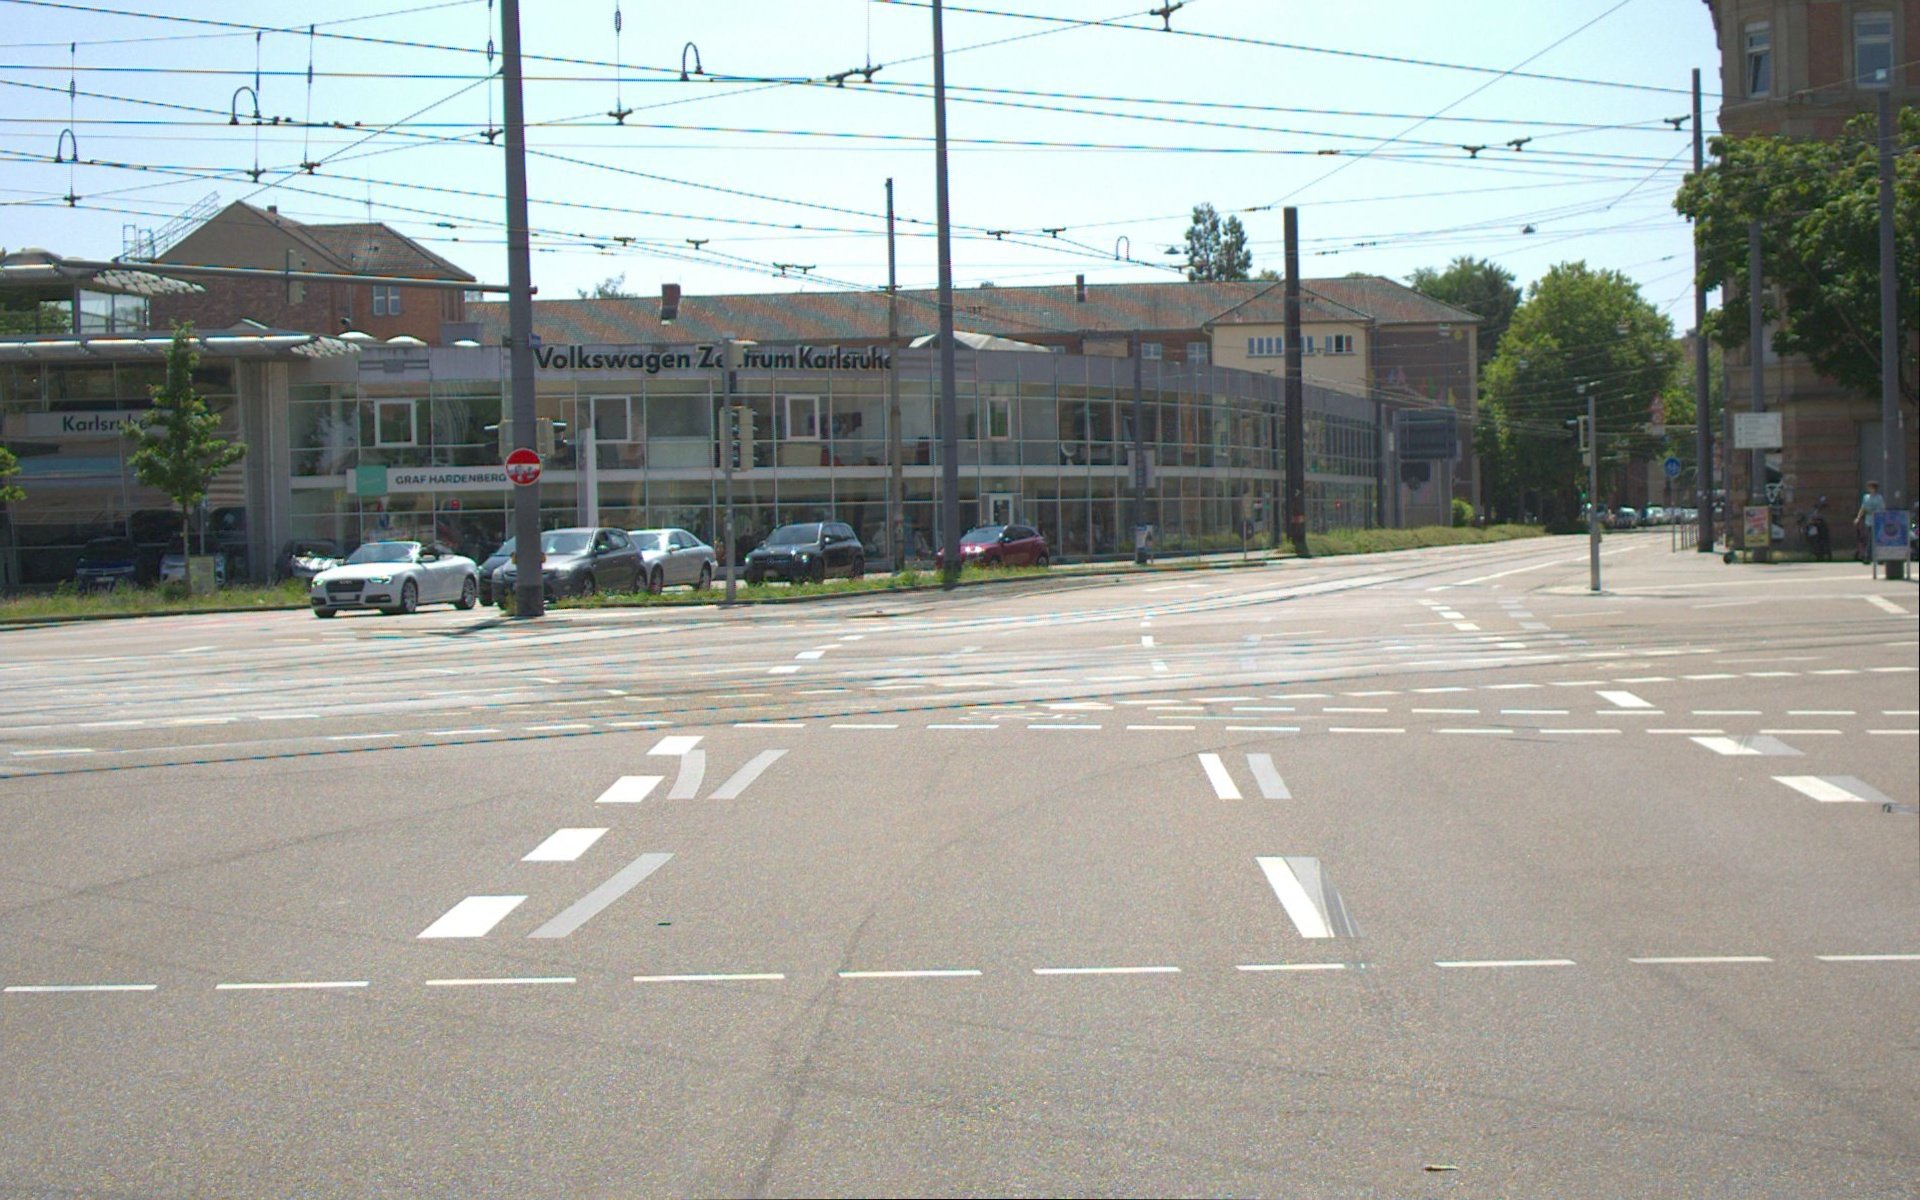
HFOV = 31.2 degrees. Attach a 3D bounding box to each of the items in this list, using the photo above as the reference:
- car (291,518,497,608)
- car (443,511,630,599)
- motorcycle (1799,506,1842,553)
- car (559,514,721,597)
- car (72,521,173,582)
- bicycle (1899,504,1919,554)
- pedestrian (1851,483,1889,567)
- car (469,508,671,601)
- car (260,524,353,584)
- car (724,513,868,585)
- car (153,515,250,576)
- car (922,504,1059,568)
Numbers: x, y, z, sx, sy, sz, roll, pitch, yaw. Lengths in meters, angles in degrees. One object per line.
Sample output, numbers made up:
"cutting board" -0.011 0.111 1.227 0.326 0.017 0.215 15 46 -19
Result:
"car" -10.510 -0.717 64.244 2.078 1.574 4.844 -1 1 13
"car" -8.614 -0.955 70.381 1.995 1.694 4.843 -1 1 17
"motorcycle" 19.781 -1.623 79.064 0.580 1.071 1.946 -1 1 3
"car" -7.059 -1.006 76.325 1.995 1.733 4.540 -1 1 17
"car" -24.354 -1.400 100.069 1.920 1.701 4.000 1 0 0
"bicycle" 22.128 -1.634 79.532 0.442 1.142 2.093 1 0 6
"pedestrian" 18.640 -1.539 70.407 0.460 1.702 0.640 -2 1 -18
"car" -7.263 -0.888 64.553 1.995 1.631 4.843 -1 1 17
"car" -19.029 -1.328 100.182 1.920 1.701 4.000 1 0 0
"car" -4.051 -1.296 85.695 2.080 1.677 4.843 -1 1 17
"car" -22.063 -1.565 100.093 1.920 1.701 4.000 1 0 0
"car" 0.903 -1.844 99.723 1.998 1.769 3.991 1 0 36
